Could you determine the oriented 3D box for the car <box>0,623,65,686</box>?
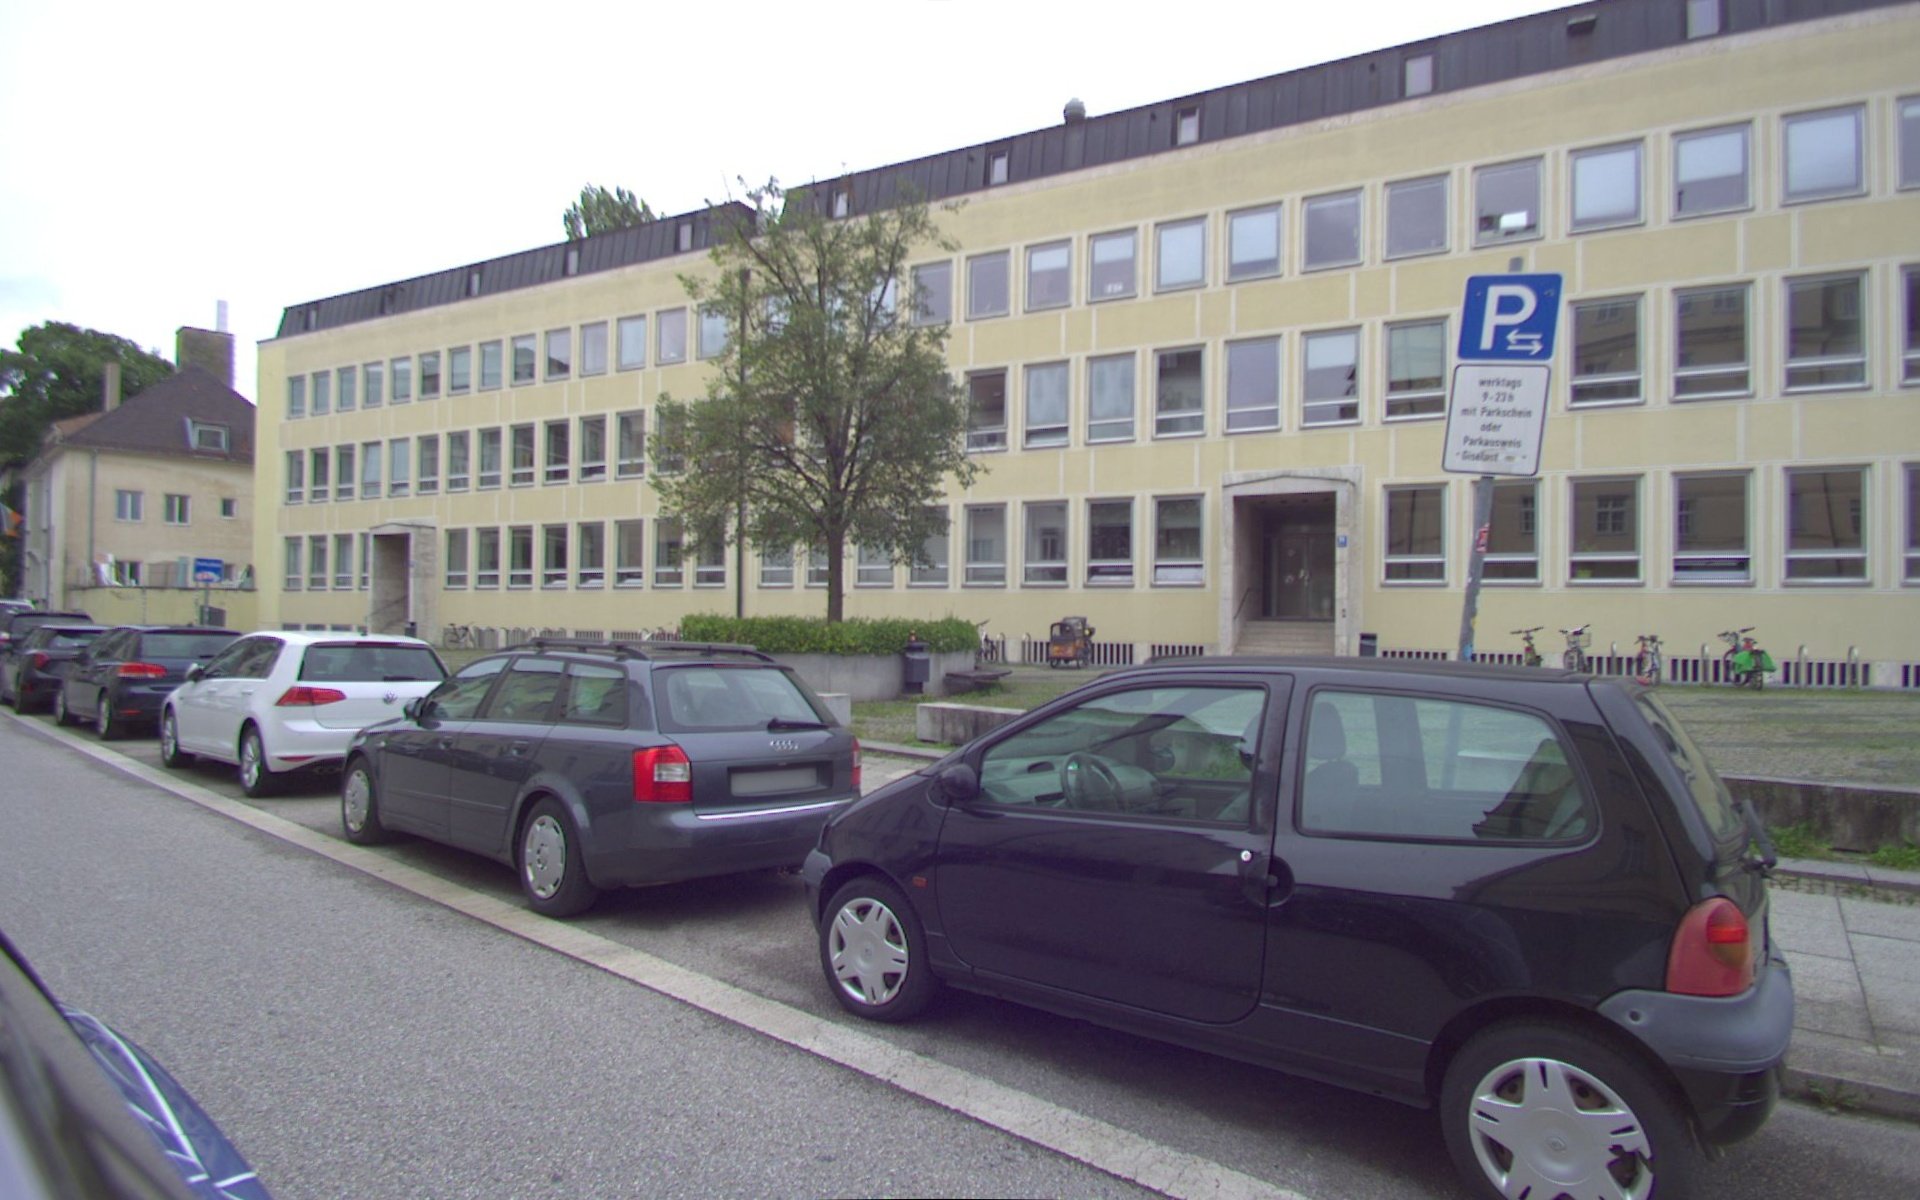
[{"bbox_3d":[-23.011,1.270,24.376,3.917,1.398,1.725,-1,-1,42],"label":"car"}]

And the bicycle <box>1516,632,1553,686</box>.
[{"bbox_3d":[11.627,1.168,20.459,0.623,1.022,1.932,-1,-1,31],"label":"bicycle"}]

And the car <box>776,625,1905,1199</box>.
[{"bbox_3d":[1.075,0.859,3.687,3.308,1.465,1.640,-1,-3,39],"label":"car"}]

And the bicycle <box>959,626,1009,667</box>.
[{"bbox_3d":[0.660,1.221,26.884,0.622,1.022,1.937,-1,-1,24],"label":"bicycle"}]

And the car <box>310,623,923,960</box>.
[{"bbox_3d":[-2.451,0.916,6.569,4.393,1.465,1.737,-1,-3,41],"label":"car"}]

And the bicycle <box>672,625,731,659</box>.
[{"bbox_3d":[-8.109,1.318,31.841,0.623,1.022,1.932,-1,-1,31],"label":"bicycle"}]

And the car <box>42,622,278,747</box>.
[{"bbox_3d":[-11.048,1.070,13.895,3.969,1.465,1.640,-1,-3,39],"label":"car"}]

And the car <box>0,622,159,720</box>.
[{"bbox_3d":[-15.101,1.135,17.126,3.867,1.465,1.663,-1,-3,41],"label":"car"}]

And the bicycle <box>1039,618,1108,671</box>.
[{"bbox_3d":[2.891,1.092,25.512,1.050,1.258,2.422,-1,-1,24],"label":"bicycle"}]

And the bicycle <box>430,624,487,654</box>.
[{"bbox_3d":[-18.224,1.393,36.830,0.577,1.022,1.937,-1,0,24],"label":"bicycle"}]

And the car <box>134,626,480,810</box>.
[{"bbox_3d":[-6.616,1.023,10.097,4.068,1.465,1.640,-1,-3,39],"label":"car"}]

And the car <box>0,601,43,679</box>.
[{"bbox_3d":[-26.667,1.037,27.405,5.017,1.994,1.909,-1,-3,39],"label":"car"}]

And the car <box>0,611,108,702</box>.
[{"bbox_3d":[-19.065,1.114,20.707,4.446,1.679,1.725,-1,-5,41],"label":"car"}]

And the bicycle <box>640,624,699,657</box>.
[{"bbox_3d":[-9.339,1.284,32.575,0.623,1.022,1.932,-1,-1,31],"label":"bicycle"}]

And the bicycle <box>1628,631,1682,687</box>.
[{"bbox_3d":[13.646,1.128,19.906,0.622,1.022,1.935,-1,-1,27],"label":"bicycle"}]

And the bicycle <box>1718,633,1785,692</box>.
[{"bbox_3d":[14.837,1.139,19.020,0.622,1.022,1.935,-1,-1,27],"label":"bicycle"}]

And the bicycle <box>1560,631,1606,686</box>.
[{"bbox_3d":[12.413,1.141,20.195,0.622,1.022,1.935,-1,-1,27],"label":"bicycle"}]
